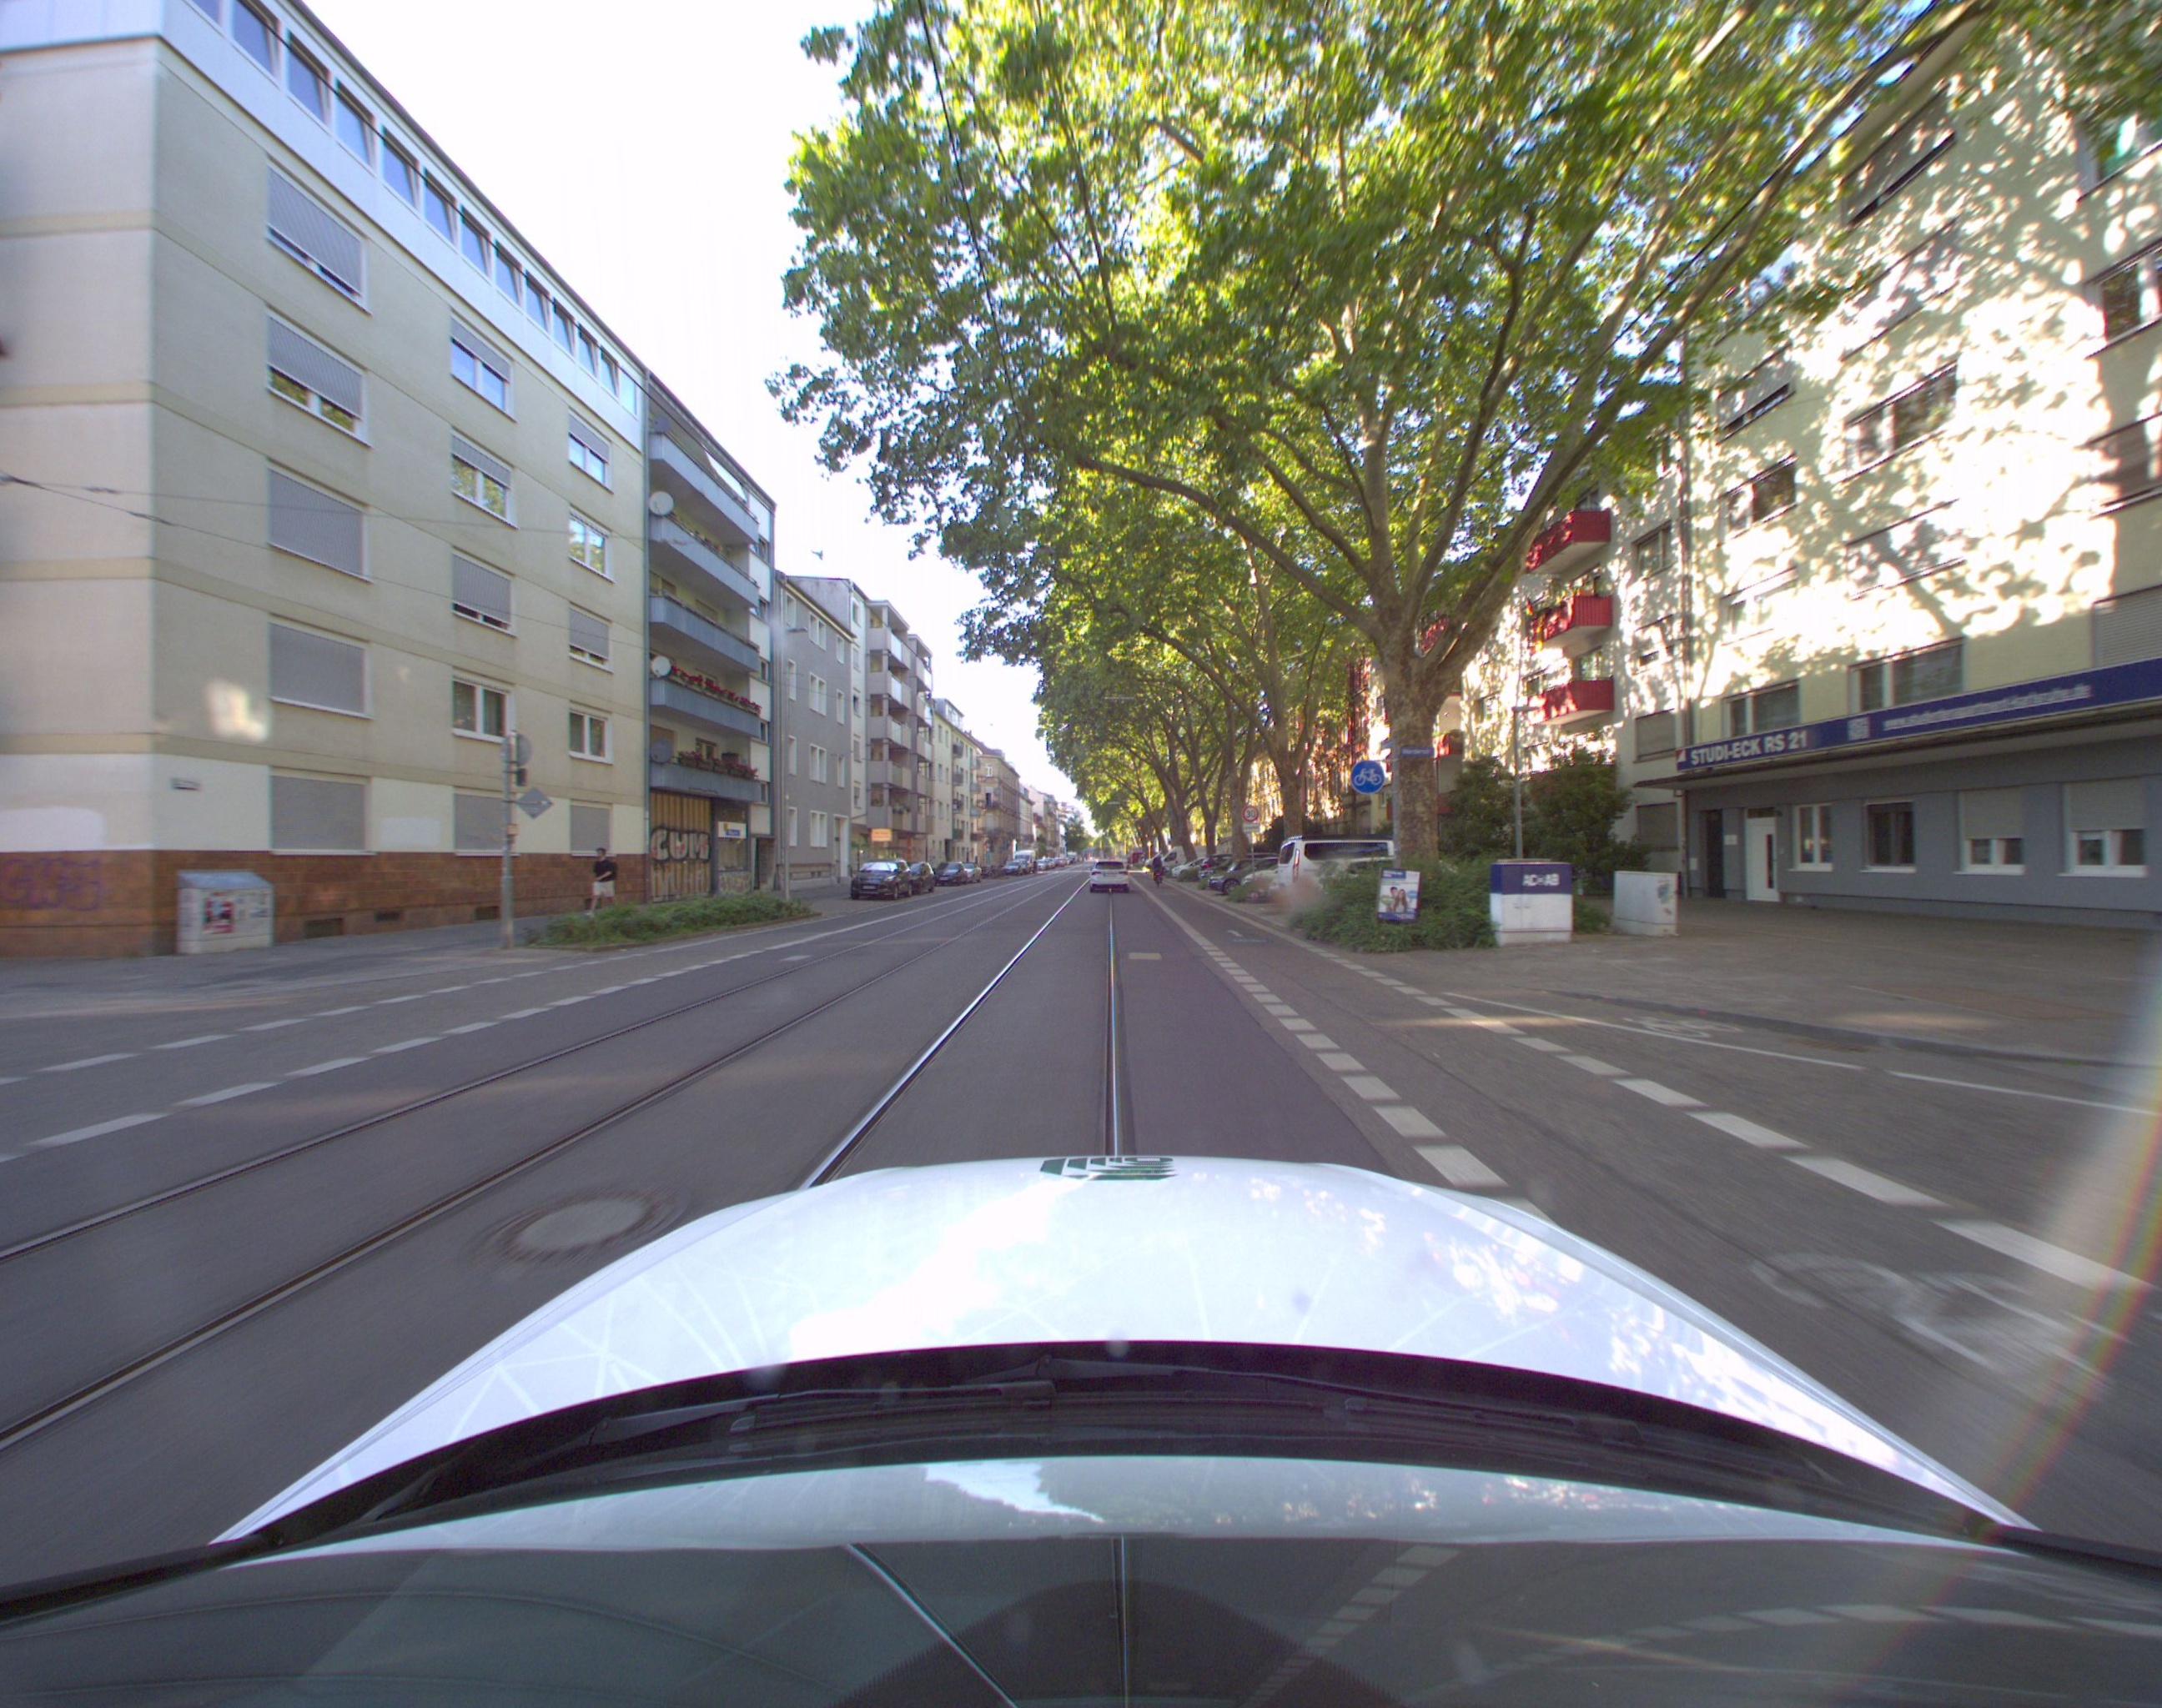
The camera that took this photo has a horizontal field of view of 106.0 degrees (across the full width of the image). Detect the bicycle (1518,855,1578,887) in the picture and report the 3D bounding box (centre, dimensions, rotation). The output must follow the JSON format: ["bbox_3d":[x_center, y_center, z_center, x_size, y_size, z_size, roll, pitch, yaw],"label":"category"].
[{"bbox_3d":[16.790,0.618,29.326,1.787,1.041,0.617,-3,-1,-3],"label":"bicycle"}]

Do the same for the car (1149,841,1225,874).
[{"bbox_3d":[8.972,0.288,69.119,6.111,2.635,2.529,-1,0,0],"label":"car"}]

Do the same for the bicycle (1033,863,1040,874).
[{"bbox_3d":[-4.529,1.454,82.514,0.603,1.071,1.582,-1,0,-1],"label":"bicycle"}]

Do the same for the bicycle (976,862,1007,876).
[{"bbox_3d":[-7.573,1.264,69.089,2.519,1.172,0.718,1,-2,-4],"label":"bicycle"}]

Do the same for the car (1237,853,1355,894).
[{"bbox_3d":[8.119,0.723,31.077,4.021,1.479,1.924,-1,0,1],"label":"car"}]

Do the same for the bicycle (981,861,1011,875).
[{"bbox_3d":[-7.497,1.278,71.981,2.520,1.172,0.718,1,-2,-5],"label":"bicycle"}]

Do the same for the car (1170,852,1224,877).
[{"bbox_3d":[8.055,0.711,56.875,3.618,1.666,1.824,-1,0,4],"label":"car"}]

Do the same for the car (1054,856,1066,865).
[{"bbox_3d":[-3.781,1.114,147.373,1.986,1.640,4.002,0,-1,2],"label":"car"}]

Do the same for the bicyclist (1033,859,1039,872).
[{"bbox_3d":[-4.545,1.129,82.624,0.595,1.286,0.917,-1,0,-1],"label":"bicyclist"}]

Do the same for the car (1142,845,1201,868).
[{"bbox_3d":[9.730,0.292,87.734,6.111,2.282,2.529,-1,0,0],"label":"car"}]

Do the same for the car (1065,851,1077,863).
[{"bbox_3d":[-2.603,0.728,213.957,2.957,3.156,5.849,0,-1,2],"label":"car"}]

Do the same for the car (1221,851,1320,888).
[{"bbox_3d":[8.268,0.677,35.771,3.973,1.514,1.761,-1,0,0],"label":"car"}]

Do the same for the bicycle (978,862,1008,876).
[{"bbox_3d":[-7.564,1.265,70.078,2.519,1.172,0.718,1,-2,-4],"label":"bicycle"}]

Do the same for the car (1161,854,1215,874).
[{"bbox_3d":[8.646,0.820,66.288,4.041,1.540,1.997,-1,0,-4],"label":"car"}]

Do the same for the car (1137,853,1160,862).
[{"bbox_3d":[11.869,0.570,143.253,4.034,1.540,2.001,-1,0,1],"label":"car"}]

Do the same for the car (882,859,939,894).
[{"bbox_3d":[-8.211,1.035,39.525,1.696,1.544,4.243,2,0,2],"label":"car"}]

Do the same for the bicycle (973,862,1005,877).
[{"bbox_3d":[-7.609,1.257,67.378,2.545,1.172,0.873,2,-2,-38],"label":"bicycle"}]

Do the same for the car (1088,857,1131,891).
[{"bbox_3d":[1.276,0.852,35.984,1.755,1.384,4.002,-1,0,2],"label":"car"}]

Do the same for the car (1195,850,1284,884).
[{"bbox_3d":[8.126,0.652,41.946,4.220,1.666,1.848,-1,0,0],"label":"car"}]

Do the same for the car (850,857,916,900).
[{"bbox_3d":[-8.303,0.968,34.544,1.696,1.650,4.241,2,0,0],"label":"car"}]

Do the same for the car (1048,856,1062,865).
[{"bbox_3d":[-4.479,1.068,140.695,1.986,1.530,4.002,-1,0,2],"label":"car"}]

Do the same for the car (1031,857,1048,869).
[{"bbox_3d":[-5.672,1.261,111.390,1.986,1.530,4.002,-1,0,2],"label":"car"}]

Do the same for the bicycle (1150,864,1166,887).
[{"bbox_3d":[3.910,1.080,41.453,0.679,1.071,1.782,-1,0,2],"label":"bicycle"}]

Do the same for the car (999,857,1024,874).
[{"bbox_3d":[-6.751,1.113,79.341,1.986,1.530,4.002,-1,0,2],"label":"car"}]

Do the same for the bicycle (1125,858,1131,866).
[{"bbox_3d":[6.197,1.018,107.933,0.647,1.071,1.583,-1,0,0],"label":"bicycle"}]

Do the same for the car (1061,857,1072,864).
[{"bbox_3d":[-3.095,1.399,173.201,1.986,1.640,4.002,0,-1,2],"label":"car"}]

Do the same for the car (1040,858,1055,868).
[{"bbox_3d":[-5.087,1.415,125.348,1.986,1.530,4.002,-1,0,2],"label":"car"}]

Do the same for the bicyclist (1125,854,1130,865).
[{"bbox_3d":[6.186,0.730,107.947,0.647,1.344,0.934,-1,0,0],"label":"bicyclist"}]

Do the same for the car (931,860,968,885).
[{"bbox_3d":[-8.016,1.089,49.940,1.648,1.437,3.836,-1,0,0],"label":"car"}]

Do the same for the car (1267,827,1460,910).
[{"bbox_3d":[7.567,0.375,22.126,4.530,2.076,2.000,-1,0,-1],"label":"car"}]

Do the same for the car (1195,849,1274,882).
[{"bbox_3d":[8.314,0.624,44.250,3.973,1.680,1.723,-1,0,0],"label":"car"}]

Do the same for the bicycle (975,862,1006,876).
[{"bbox_3d":[-7.588,1.261,68.202,2.520,1.172,0.718,1,-2,-5],"label":"bicycle"}]

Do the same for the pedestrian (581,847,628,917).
[{"bbox_3d":[-12.787,0.731,21.876,0.661,1.826,0.965,-1,-1,0],"label":"pedestrian"}]

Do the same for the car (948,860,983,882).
[{"bbox_3d":[-7.749,1.124,55.033,1.478,1.403,3.995,-1,0,4],"label":"car"}]

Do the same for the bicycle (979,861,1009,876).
[{"bbox_3d":[-7.539,1.267,70.927,2.519,1.172,0.718,1,-2,-4],"label":"bicycle"}]

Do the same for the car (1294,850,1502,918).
[{"bbox_3d":[7.498,0.690,19.546,4.282,1.479,1.831,-1,0,0],"label":"car"}]

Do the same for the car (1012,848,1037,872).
[{"bbox_3d":[-6.301,0.659,91.067,2.170,2.597,4.951,-1,0,2],"label":"car"}]

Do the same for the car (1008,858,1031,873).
[{"bbox_3d":[-6.396,1.170,85.118,1.986,1.530,4.002,-1,0,2],"label":"car"}]

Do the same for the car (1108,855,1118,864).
[{"bbox_3d":[5.705,0.956,146.915,1.755,1.475,4.002,-1,0,2],"label":"car"}]

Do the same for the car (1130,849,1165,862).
[{"bbox_3d":[12.077,0.314,147.946,6.111,2.282,2.529,-1,0,0],"label":"car"}]

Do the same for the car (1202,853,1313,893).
[{"bbox_3d":[7.161,0.757,33.352,4.128,1.514,1.931,-1,0,0],"label":"car"}]

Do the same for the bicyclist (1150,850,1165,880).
[{"bbox_3d":[3.887,0.554,41.305,0.676,1.443,1.048,-1,0,2],"label":"bicyclist"}]

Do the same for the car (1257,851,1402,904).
[{"bbox_3d":[7.501,0.697,24.841,3.886,1.479,1.722,-1,0,-2],"label":"car"}]

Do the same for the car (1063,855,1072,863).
[{"bbox_3d":[-3.463,1.319,206.811,1.986,2.014,4.002,0,-1,2],"label":"car"}]

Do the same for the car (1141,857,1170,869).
[{"bbox_3d":[10.753,1.285,117.193,4.034,1.540,2.001,-1,0,1],"label":"car"}]

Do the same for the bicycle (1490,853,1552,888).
[{"bbox_3d":[15.881,0.605,29.413,1.942,1.156,0.571,-3,-1,-6],"label":"bicycle"}]
